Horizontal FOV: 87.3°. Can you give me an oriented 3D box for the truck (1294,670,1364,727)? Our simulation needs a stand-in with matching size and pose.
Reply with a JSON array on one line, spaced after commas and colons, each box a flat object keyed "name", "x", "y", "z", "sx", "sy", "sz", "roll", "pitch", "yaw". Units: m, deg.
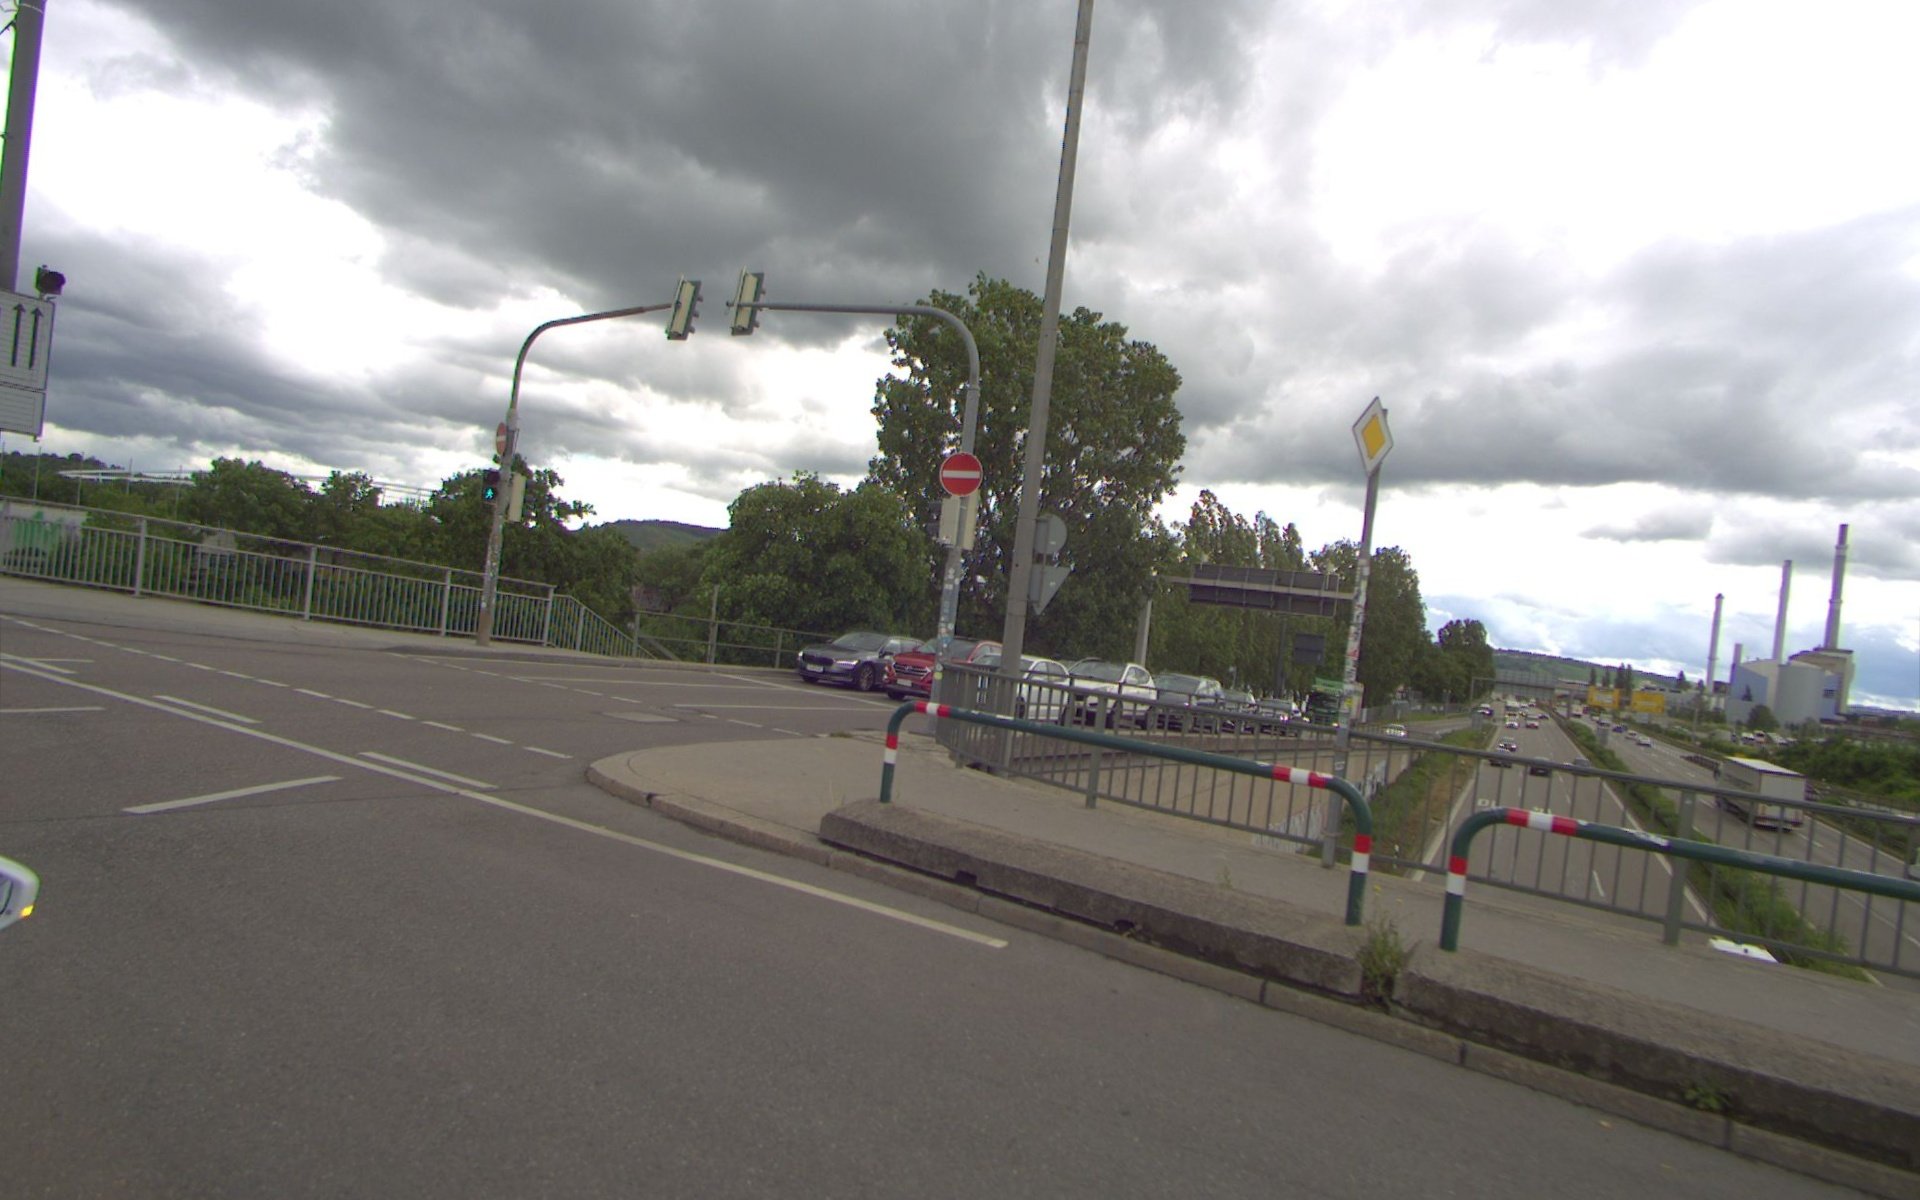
[{"name": "truck", "x": 27.347, "y": 7.234, "z": 74.216, "sx": 2.736, "sy": 3.552, "sz": 9.241, "roll": 7, "pitch": -1, "yaw": 32}]

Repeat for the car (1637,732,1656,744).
[{"name": "car", "x": 117.603, "y": 23.618, "z": 172.361, "sx": 1.965, "sy": 1.755, "sz": 3.996, "roll": 5, "pitch": -3, "yaw": 28}]

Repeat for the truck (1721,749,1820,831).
[{"name": "truck", "x": 58.666, "y": 13.536, "z": 73.208, "sx": 3.530, "sy": 4.537, "sz": 13.161, "roll": 3, "pitch": -3, "yaw": 31}]

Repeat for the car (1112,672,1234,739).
[{"name": "car", "x": 6.538, "y": 3.234, "z": 30.405, "sx": 1.967, "sy": 1.637, "sz": 4.958, "roll": 5, "pitch": -4, "yaw": 31}]

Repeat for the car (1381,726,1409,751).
[{"name": "car", "x": 41.309, "y": 13.081, "z": 95.469, "sx": 1.965, "sy": 1.691, "sz": 3.763, "roll": 7, "pitch": 2, "yaw": 27}]

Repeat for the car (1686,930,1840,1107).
[{"name": "car", "x": 18.667, "y": 9.603, "z": 23.614, "sx": 1.966, "sy": 2.397, "sz": 4.586, "roll": 5, "pitch": -3, "yaw": 30}]

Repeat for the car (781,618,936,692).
[{"name": "car", "x": -2.448, "y": 1.431, "z": 25.270, "sx": 1.667, "sy": 1.436, "sz": 4.151, "roll": 5, "pitch": -4, "yaw": 30}]

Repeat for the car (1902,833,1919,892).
[{"name": "car", "x": 48.455, "y": 13.139, "z": 48.700, "sx": 2.876, "sy": 2.527, "sz": 7.263, "roll": 5, "pitch": -3, "yaw": 35}]

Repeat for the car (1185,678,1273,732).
[{"name": "car", "x": 9.875, "y": 3.865, "z": 36.746, "sx": 1.967, "sy": 1.635, "sz": 3.997, "roll": 5, "pitch": -4, "yaw": 31}]

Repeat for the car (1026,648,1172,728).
[{"name": "car", "x": 3.622, "y": 2.288, "z": 25.568, "sx": 1.967, "sy": 1.637, "sz": 4.338, "roll": 5, "pitch": -4, "yaw": 32}]

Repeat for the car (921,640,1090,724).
[{"name": "car", "x": 1.016, "y": 1.699, "z": 20.255, "sx": 1.761, "sy": 1.327, "sz": 3.762, "roll": 5, "pitch": -4, "yaw": 30}]

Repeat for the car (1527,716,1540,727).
[{"name": "car", "x": 105.933, "y": 22.501, "z": 185.876, "sx": 1.966, "sy": 1.725, "sz": 4.077, "roll": 5, "pitch": -3, "yaw": 30}]

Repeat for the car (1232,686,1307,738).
[{"name": "car", "x": 13.199, "y": 4.707, "z": 42.805, "sx": 1.967, "sy": 1.640, "sz": 3.987, "roll": 7, "pitch": 3, "yaw": 32}]

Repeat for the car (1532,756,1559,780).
[{"name": "car", "x": 53.721, "y": 15.384, "z": 92.342, "sx": 1.966, "sy": 1.725, "sz": 4.077, "roll": 5, "pitch": -3, "yaw": 30}]

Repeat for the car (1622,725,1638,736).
[{"name": "car", "x": 129.872, "y": 25.310, "z": 194.979, "sx": 1.965, "sy": 1.755, "sz": 3.996, "roll": 5, "pitch": -3, "yaw": 27}]

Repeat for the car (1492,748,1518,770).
[{"name": "car", "x": 53.028, "y": 15.401, "z": 97.862, "sx": 1.966, "sy": 1.725, "sz": 4.077, "roll": 5, "pitch": -3, "yaw": 30}]

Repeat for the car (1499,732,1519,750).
[{"name": "car", "x": 66.034, "y": 16.943, "z": 121.012, "sx": 1.966, "sy": 1.725, "sz": 4.077, "roll": 5, "pitch": -3, "yaw": 30}]

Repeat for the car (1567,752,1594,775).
[{"name": "car", "x": 59.870, "y": 15.759, "z": 97.102, "sx": 1.966, "sy": 1.725, "sz": 4.077, "roll": 5, "pitch": -3, "yaw": 30}]

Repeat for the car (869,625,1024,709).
[{"name": "car", "x": -0.215, "y": 1.608, "z": 23.455, "sx": 1.667, "sy": 1.556, "sz": 4.006, "roll": 5, "pitch": -4, "yaw": 30}]

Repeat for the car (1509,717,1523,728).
[{"name": "car", "x": 98.562, "y": 21.737, "z": 178.208, "sx": 1.966, "sy": 1.725, "sz": 4.077, "roll": 5, "pitch": -3, "yaw": 30}]
